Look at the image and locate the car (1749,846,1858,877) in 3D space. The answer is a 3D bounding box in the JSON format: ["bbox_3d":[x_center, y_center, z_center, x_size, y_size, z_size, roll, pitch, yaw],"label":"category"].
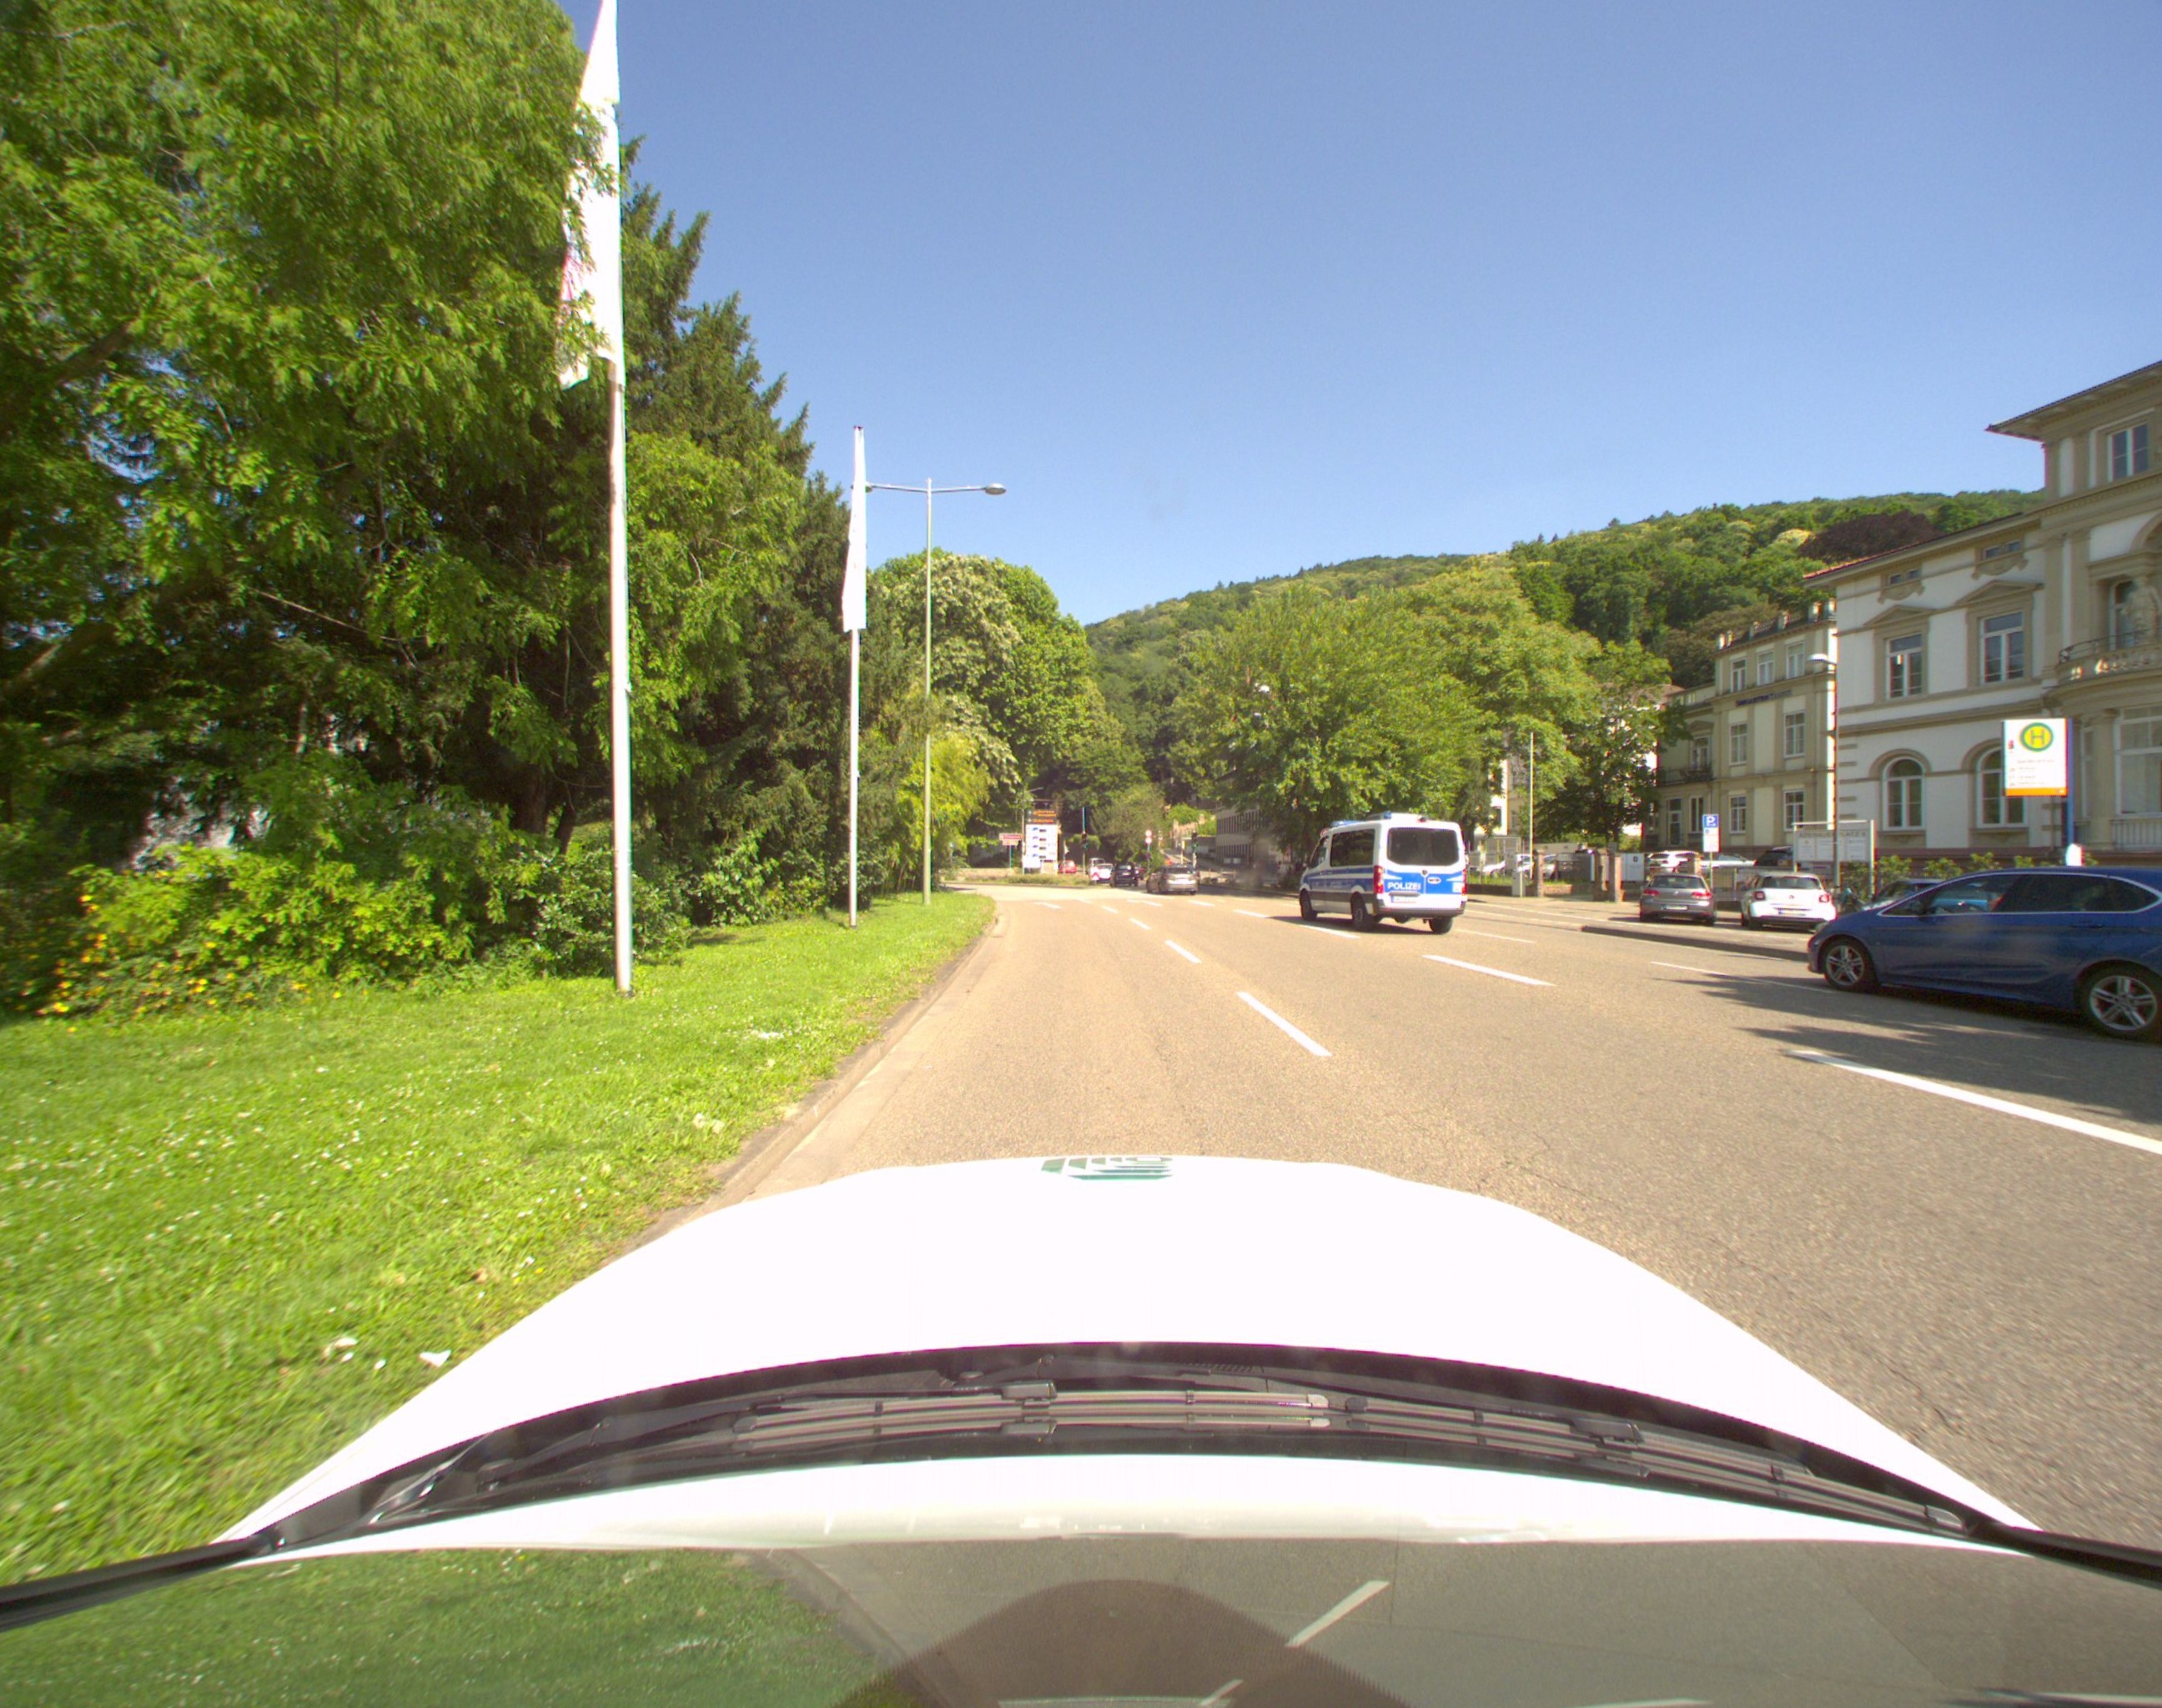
[{"bbox_3d":[35.938,0.370,40.573,4.045,1.509,1.861,0,0,-7],"label":"car"}]

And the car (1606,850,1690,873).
[{"bbox_3d":[34.304,0.441,49.316,4.036,1.336,1.817,0,0,-7],"label":"car"}]

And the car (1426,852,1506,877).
[{"bbox_3d":[23.466,0.602,49.708,4.142,1.476,1.872,0,0,-9],"label":"car"}]

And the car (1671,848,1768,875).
[{"bbox_3d":[34.669,0.390,44.251,4.045,1.419,1.817,0,0,-7],"label":"car"}]

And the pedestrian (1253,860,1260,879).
[{"bbox_3d":[13.000,1.152,60.356,0.485,1.458,0.737,-1,-1,14],"label":"pedestrian"}]

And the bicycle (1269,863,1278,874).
[{"bbox_3d":[16.590,1.261,70.293,0.404,0.941,1.339,0,0,-4],"label":"bicycle"}]

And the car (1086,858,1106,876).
[{"bbox_3d":[1.570,1.358,86.720,1.753,1.938,3.488,0,0,-5],"label":"car"}]

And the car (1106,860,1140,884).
[{"bbox_3d":[2.676,1.157,52.899,1.753,1.461,3.488,0,0,-5],"label":"car"}]

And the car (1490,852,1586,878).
[{"bbox_3d":[23.745,0.569,42.384,4.081,1.336,1.817,0,0,-7],"label":"car"}]

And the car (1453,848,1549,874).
[{"bbox_3d":[23.110,0.378,44.890,4.462,1.336,1.817,0,0,-7],"label":"car"}]

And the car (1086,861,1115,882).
[{"bbox_3d":[1.437,1.272,60.528,1.753,1.461,3.640,0,0,-5],"label":"car"}]

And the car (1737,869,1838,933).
[{"bbox_3d":[18.662,1.165,21.649,1.691,1.511,3.835,0,-1,36],"label":"car"}]

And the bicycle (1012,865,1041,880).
[{"bbox_3d":[-4.079,1.401,60.920,2.059,1.112,0.760,0,-1,20],"label":"bicycle"}]

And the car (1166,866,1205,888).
[{"bbox_3d":[6.432,1.403,50.338,1.753,1.213,3.488,0,0,-5],"label":"car"}]

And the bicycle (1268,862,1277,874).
[{"bbox_3d":[16.982,1.247,72.123,0.404,1.012,1.339,0,0,-4],"label":"bicycle"}]

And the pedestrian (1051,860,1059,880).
[{"bbox_3d":[-2.155,1.283,66.708,0.544,1.621,0.635,0,0,5],"label":"pedestrian"}]

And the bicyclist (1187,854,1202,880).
[{"bbox_3d":[8.801,1.009,63.024,1.119,1.932,0.750,0,-1,8],"label":"bicyclist"}]

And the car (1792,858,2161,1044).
[{"bbox_3d":[9.969,0.837,8.392,1.712,1.541,4.275,1,0,3],"label":"car"}]

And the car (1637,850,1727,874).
[{"bbox_3d":[34.678,0.467,47.008,4.072,1.336,1.817,0,0,-7],"label":"car"}]

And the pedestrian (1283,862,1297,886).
[{"bbox_3d":[14.824,1.395,57.710,0.769,1.663,0.828,0,-1,-3],"label":"pedestrian"}]

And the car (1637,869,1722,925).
[{"bbox_3d":[17.678,1.182,23.971,1.804,1.461,4.133,0,-1,39],"label":"car"}]

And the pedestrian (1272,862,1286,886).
[{"bbox_3d":[14.050,1.402,57.882,0.769,1.663,0.828,0,-1,-4],"label":"pedestrian"}]

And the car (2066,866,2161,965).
[{"bbox_3d":[20.007,1.076,14.646,1.691,1.696,4.301,0,-1,33],"label":"car"}]

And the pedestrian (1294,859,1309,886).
[{"bbox_3d":[15.296,1.295,56.550,0.769,1.854,0.828,0,-1,-4],"label":"pedestrian"}]

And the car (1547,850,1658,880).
[{"bbox_3d":[24.239,0.504,37.954,4.036,1.336,1.987,0,0,-7],"label":"car"}]

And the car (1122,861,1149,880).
[{"bbox_3d":[4.472,1.341,67.310,1.753,1.461,3.640,0,0,-5],"label":"car"}]

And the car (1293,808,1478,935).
[{"bbox_3d":[6.708,0.382,18.646,2.070,2.509,4.920,1,-1,-5],"label":"car"}]

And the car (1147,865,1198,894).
[{"bbox_3d":[4.356,1.199,39.297,1.753,1.334,3.795,0,0,-5],"label":"car"}]

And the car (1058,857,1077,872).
[{"bbox_3d":[-1.411,1.036,83.032,1.753,1.461,3.488,0,0,-5],"label":"car"}]

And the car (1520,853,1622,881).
[{"bbox_3d":[24.181,0.632,40.272,4.036,1.336,1.856,0,0,-7],"label":"car"}]

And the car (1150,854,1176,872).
[{"bbox_3d":[8.125,0.875,81.043,1.928,1.697,3.993,0,-1,-5],"label":"car"}]

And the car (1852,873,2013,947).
[{"bbox_3d":[19.281,1.187,18.638,1.691,1.442,3.835,0,-1,33],"label":"car"}]

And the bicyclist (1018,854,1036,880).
[{"bbox_3d":[-4.043,0.989,60.923,1.116,1.932,0.752,0,-1,20],"label":"bicyclist"}]

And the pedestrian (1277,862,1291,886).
[{"bbox_3d":[14.173,1.378,56.854,0.769,1.663,0.828,0,-1,-4],"label":"pedestrian"}]
